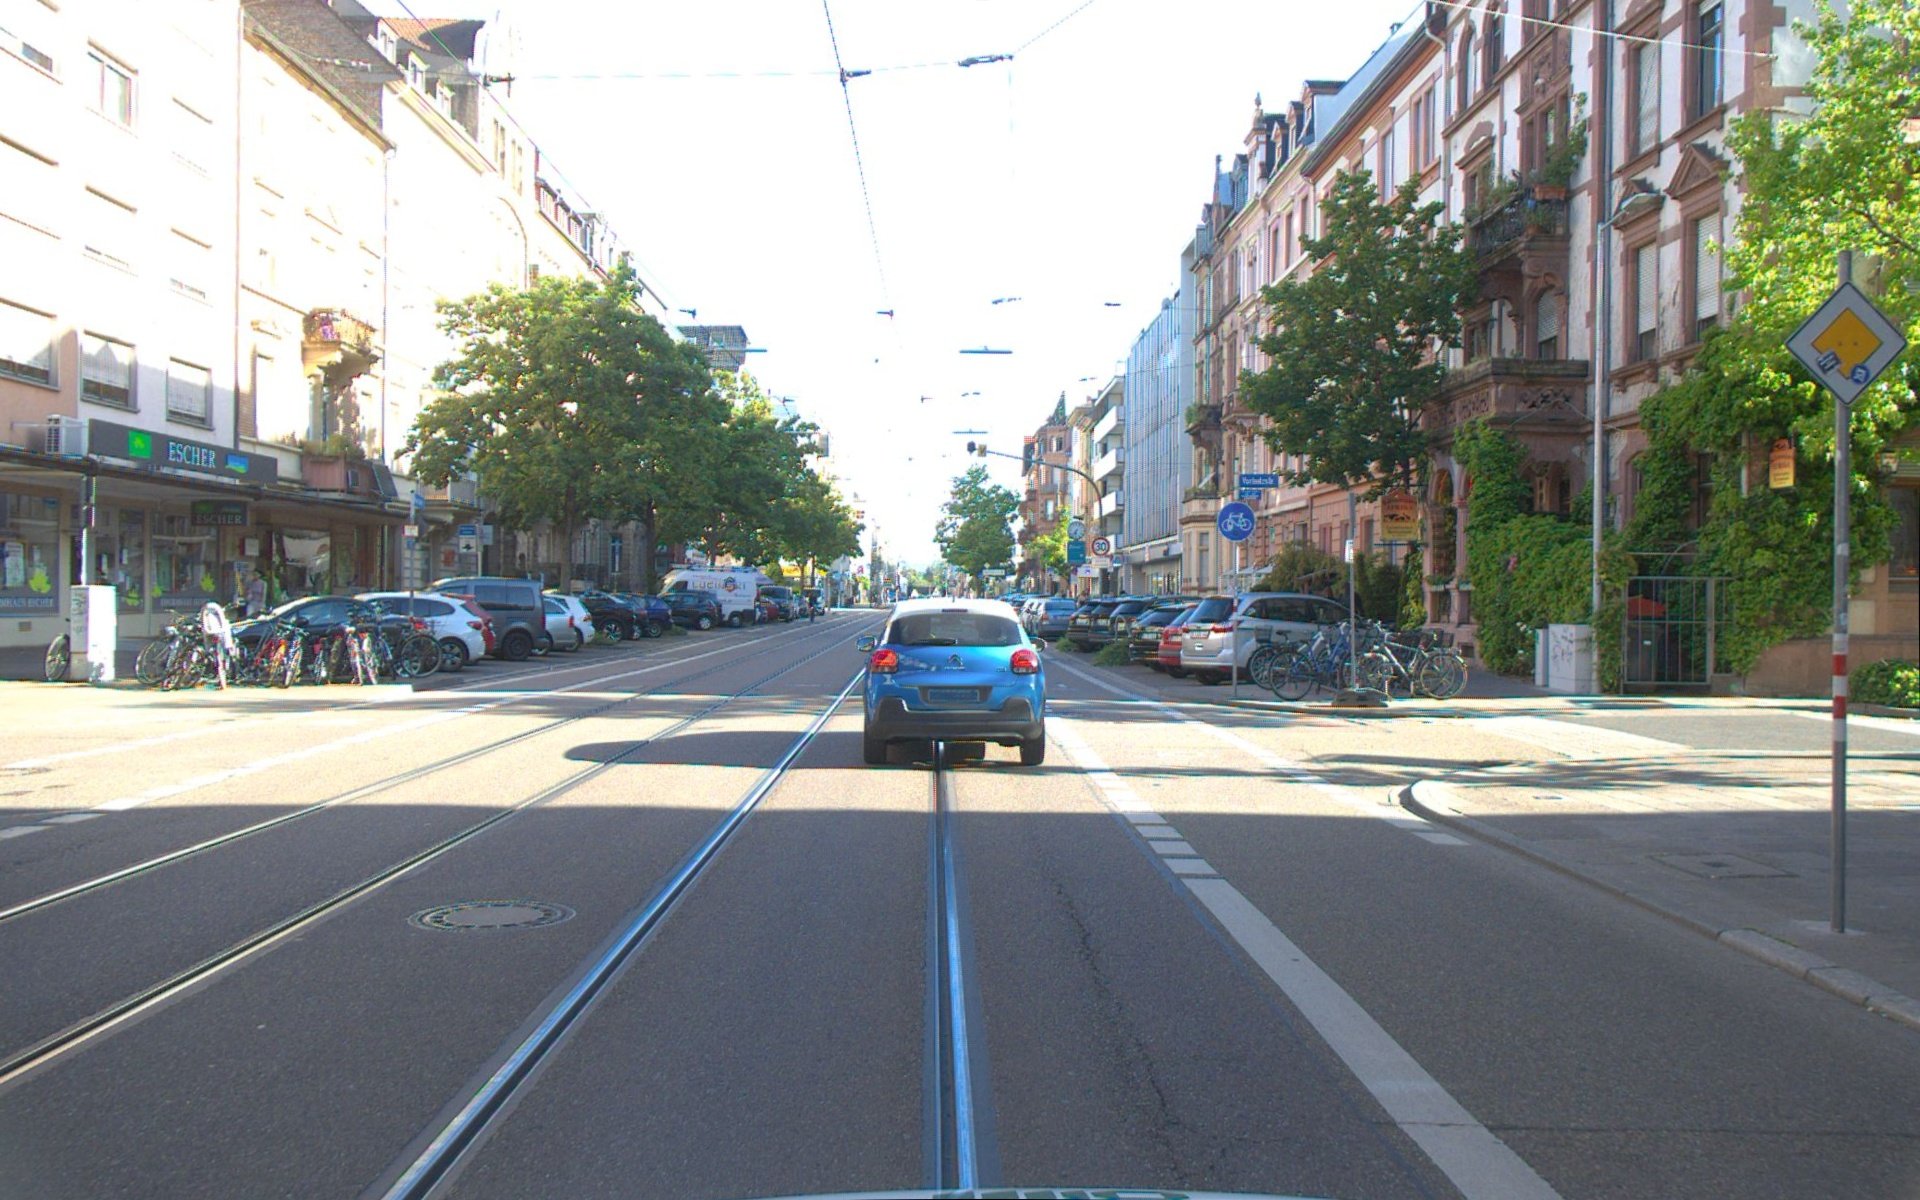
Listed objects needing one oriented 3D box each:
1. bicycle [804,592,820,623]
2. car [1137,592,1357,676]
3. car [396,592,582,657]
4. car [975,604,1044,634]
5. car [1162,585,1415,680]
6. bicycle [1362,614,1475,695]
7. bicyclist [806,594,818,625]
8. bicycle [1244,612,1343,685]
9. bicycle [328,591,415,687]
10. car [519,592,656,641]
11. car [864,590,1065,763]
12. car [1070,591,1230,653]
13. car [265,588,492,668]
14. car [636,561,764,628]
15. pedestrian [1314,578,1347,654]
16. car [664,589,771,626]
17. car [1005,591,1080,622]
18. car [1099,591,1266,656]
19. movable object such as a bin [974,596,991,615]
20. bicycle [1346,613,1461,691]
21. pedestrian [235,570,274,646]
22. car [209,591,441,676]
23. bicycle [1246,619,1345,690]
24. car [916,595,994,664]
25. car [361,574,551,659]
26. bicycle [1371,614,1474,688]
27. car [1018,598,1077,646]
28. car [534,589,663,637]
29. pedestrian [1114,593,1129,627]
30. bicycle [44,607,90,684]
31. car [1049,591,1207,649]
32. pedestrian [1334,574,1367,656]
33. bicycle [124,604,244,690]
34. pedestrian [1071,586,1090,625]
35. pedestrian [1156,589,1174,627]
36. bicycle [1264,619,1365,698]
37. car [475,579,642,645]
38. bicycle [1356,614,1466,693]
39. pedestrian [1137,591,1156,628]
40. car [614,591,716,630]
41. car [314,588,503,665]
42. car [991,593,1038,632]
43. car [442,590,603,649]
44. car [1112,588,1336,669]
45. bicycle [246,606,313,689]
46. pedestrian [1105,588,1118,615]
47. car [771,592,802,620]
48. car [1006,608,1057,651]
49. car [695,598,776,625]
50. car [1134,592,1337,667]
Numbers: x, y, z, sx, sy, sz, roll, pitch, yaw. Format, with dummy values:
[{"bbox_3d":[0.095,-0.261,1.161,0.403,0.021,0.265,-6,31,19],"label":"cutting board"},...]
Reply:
[{"bbox_3d":[-8.242,0.409,92.191,0.666,1.708,2.096,1,0,-1],"label":"bicycle"},{"bbox_3d":[5.684,0.675,32.764,3.937,1.563,1.903,1,0,-26],"label":"car"},{"bbox_3d":[-11.301,0.589,39.769,3.970,1.475,1.680,1,0,-34],"label":"car"},{"bbox_3d":[2.773,1.074,91.805,3.409,1.582,1.804,1,0,-33],"label":"car"},{"bbox_3d":[6.016,0.599,30.235,4.297,1.624,1.838,1,0,-26],"label":"car"},{"bbox_3d":[6.782,0.802,24.495,1.523,1.147,0.552,1,-1,5],"label":"bicycle"},{"bbox_3d":[-8.245,0.538,92.175,0.621,1.711,0.726,1,-1,-1],"label":"bicyclist"},{"bbox_3d":[5.423,0.785,26.926,1.527,1.147,0.295,1,-1,5],"label":"bicycle"},{"bbox_3d":[-9.166,0.580,25.869,0.668,1.342,2.434,1,2,-5],"label":"bicycle"},{"bbox_3d":[-11.981,0.540,53.269,3.951,1.515,1.785,1,0,-34],"label":"car"},{"bbox_3d":[0.003,0.673,16.187,1.726,1.466,3.556,1,0,-1],"label":"car"},{"bbox_3d":[5.291,0.613,46.043,3.937,1.624,2.071,1,0,-26],"label":"car"},{"bbox_3d":[-10.979,0.525,31.302,3.746,1.424,1.734,1,0,-34],"label":"car"},{"bbox_3d":[-11.497,-0.211,73.325,5.316,2.797,1.787,1,-1,-31],"label":"car"},{"bbox_3d":[8.380,0.362,37.448,0.507,1.677,0.863,1,-1,-1],"label":"pedestrian"},{"bbox_3d":[-11.353,0.364,77.487,4.713,1.646,1.692,1,0,-34],"label":"car"},{"bbox_3d":[4.463,0.359,89.373,3.685,1.547,1.945,1,0,-34],"label":"car"},{"bbox_3d":[5.818,0.613,43.310,3.937,1.624,1.943,1,0,-26],"label":"car"},{"bbox_3d":[1.916,0.460,139.243,1.366,1.509,1.655,1,0,-1],"label":"movable object such as a bin"},{"bbox_3d":[6.874,0.801,25.670,1.639,1.147,0.552,1,-1,5],"label":"bicycle"},{"bbox_3d":[-15.725,0.182,36.888,0.557,1.681,0.641,1,-1,-1],"label":"pedestrian"},{"bbox_3d":[-10.861,0.574,28.369,3.431,1.361,1.604,1,0,-35],"label":"car"},{"bbox_3d":[5.385,0.874,26.600,1.523,1.098,0.307,1,-1,5],"label":"bicycle"},{"bbox_3d":[-0.137,0.711,41.709,1.835,1.624,3.999,1,0,-1],"label":"car"},{"bbox_3d":[-11.257,0.379,36.951,3.769,1.816,1.780,1,0,-29],"label":"car"},{"bbox_3d":[7.508,0.817,26.885,1.523,1.147,0.552,1,-1,5],"label":"bicycle"},{"bbox_3d":[3.175,0.787,60.793,1.835,1.624,4.718,1,0,-1],"label":"car"},{"bbox_3d":[-12.256,0.446,56.102,3.943,1.515,1.789,1,0,-29],"label":"car"},{"bbox_3d":[8.575,0.530,88.014,0.678,1.786,0.678,1,-1,-1],"label":"pedestrian"},{"bbox_3d":[-13.586,0.667,25.190,0.397,1.129,1.825,0,0,-22],"label":"bicycle"},{"bbox_3d":[4.965,0.586,48.892,4.249,1.624,1.966,1,0,-26],"label":"car"},{"bbox_3d":[8.847,0.336,37.478,0.507,1.809,0.863,1,-1,-1],"label":"pedestrian"},{"bbox_3d":[-11.614,0.675,24.719,2.390,1.128,0.680,3,3,40],"label":"bicycle"},{"bbox_3d":[5.043,0.224,69.095,0.697,1.635,0.654,1,-1,-2],"label":"pedestrian"},{"bbox_3d":[9.167,0.357,73.897,0.697,1.635,0.654,1,-1,-2],"label":"pedestrian"},{"bbox_3d":[5.302,0.869,24.774,1.374,1.147,0.549,1,-1,-15],"label":"bicycle"},{"bbox_3d":[-11.631,0.353,47.970,4.313,1.814,1.973,1,0,-34],"label":"car"},{"bbox_3d":[6.825,0.806,25.083,1.523,1.147,0.528,1,-1,5],"label":"bicycle"},{"bbox_3d":[8.333,0.430,73.753,0.697,1.635,0.654,-2,0,-2],"label":"pedestrian"},{"bbox_3d":[-12.089,0.435,67.664,3.924,1.515,1.797,1,0,-18],"label":"car"},{"bbox_3d":[-11.303,0.516,33.925,3.423,1.499,1.632,0,0,-30],"label":"car"},{"bbox_3d":[2.357,0.533,72.187,1.835,1.624,3.999,1,0,-1],"label":"car"},{"bbox_3d":[-11.438,0.522,43.216,3.786,1.455,1.751,1,0,-27],"label":"car"},{"bbox_3d":[5.664,0.614,35.486,4.379,1.624,2.072,1,0,-26],"label":"car"},{"bbox_3d":[-10.453,0.704,25.367,0.675,1.143,1.867,0,2,-31],"label":"bicycle"},{"bbox_3d":[9.301,0.107,101.500,0.678,1.615,0.678,1,-1,-1],"label":"pedestrian"},{"bbox_3d":[-10.804,0.378,103.044,1.713,1.646,4.407,1,0,-4],"label":"car"},{"bbox_3d":[2.852,1.162,66.887,1.835,1.624,3.999,1,0,-1],"label":"car"},{"bbox_3d":[-11.328,0.584,83.457,3.751,1.287,1.503,1,0,-27],"label":"car"},{"bbox_3d":[6.373,0.679,38.277,4.264,1.624,2.029,1,0,-26],"label":"car"}]
